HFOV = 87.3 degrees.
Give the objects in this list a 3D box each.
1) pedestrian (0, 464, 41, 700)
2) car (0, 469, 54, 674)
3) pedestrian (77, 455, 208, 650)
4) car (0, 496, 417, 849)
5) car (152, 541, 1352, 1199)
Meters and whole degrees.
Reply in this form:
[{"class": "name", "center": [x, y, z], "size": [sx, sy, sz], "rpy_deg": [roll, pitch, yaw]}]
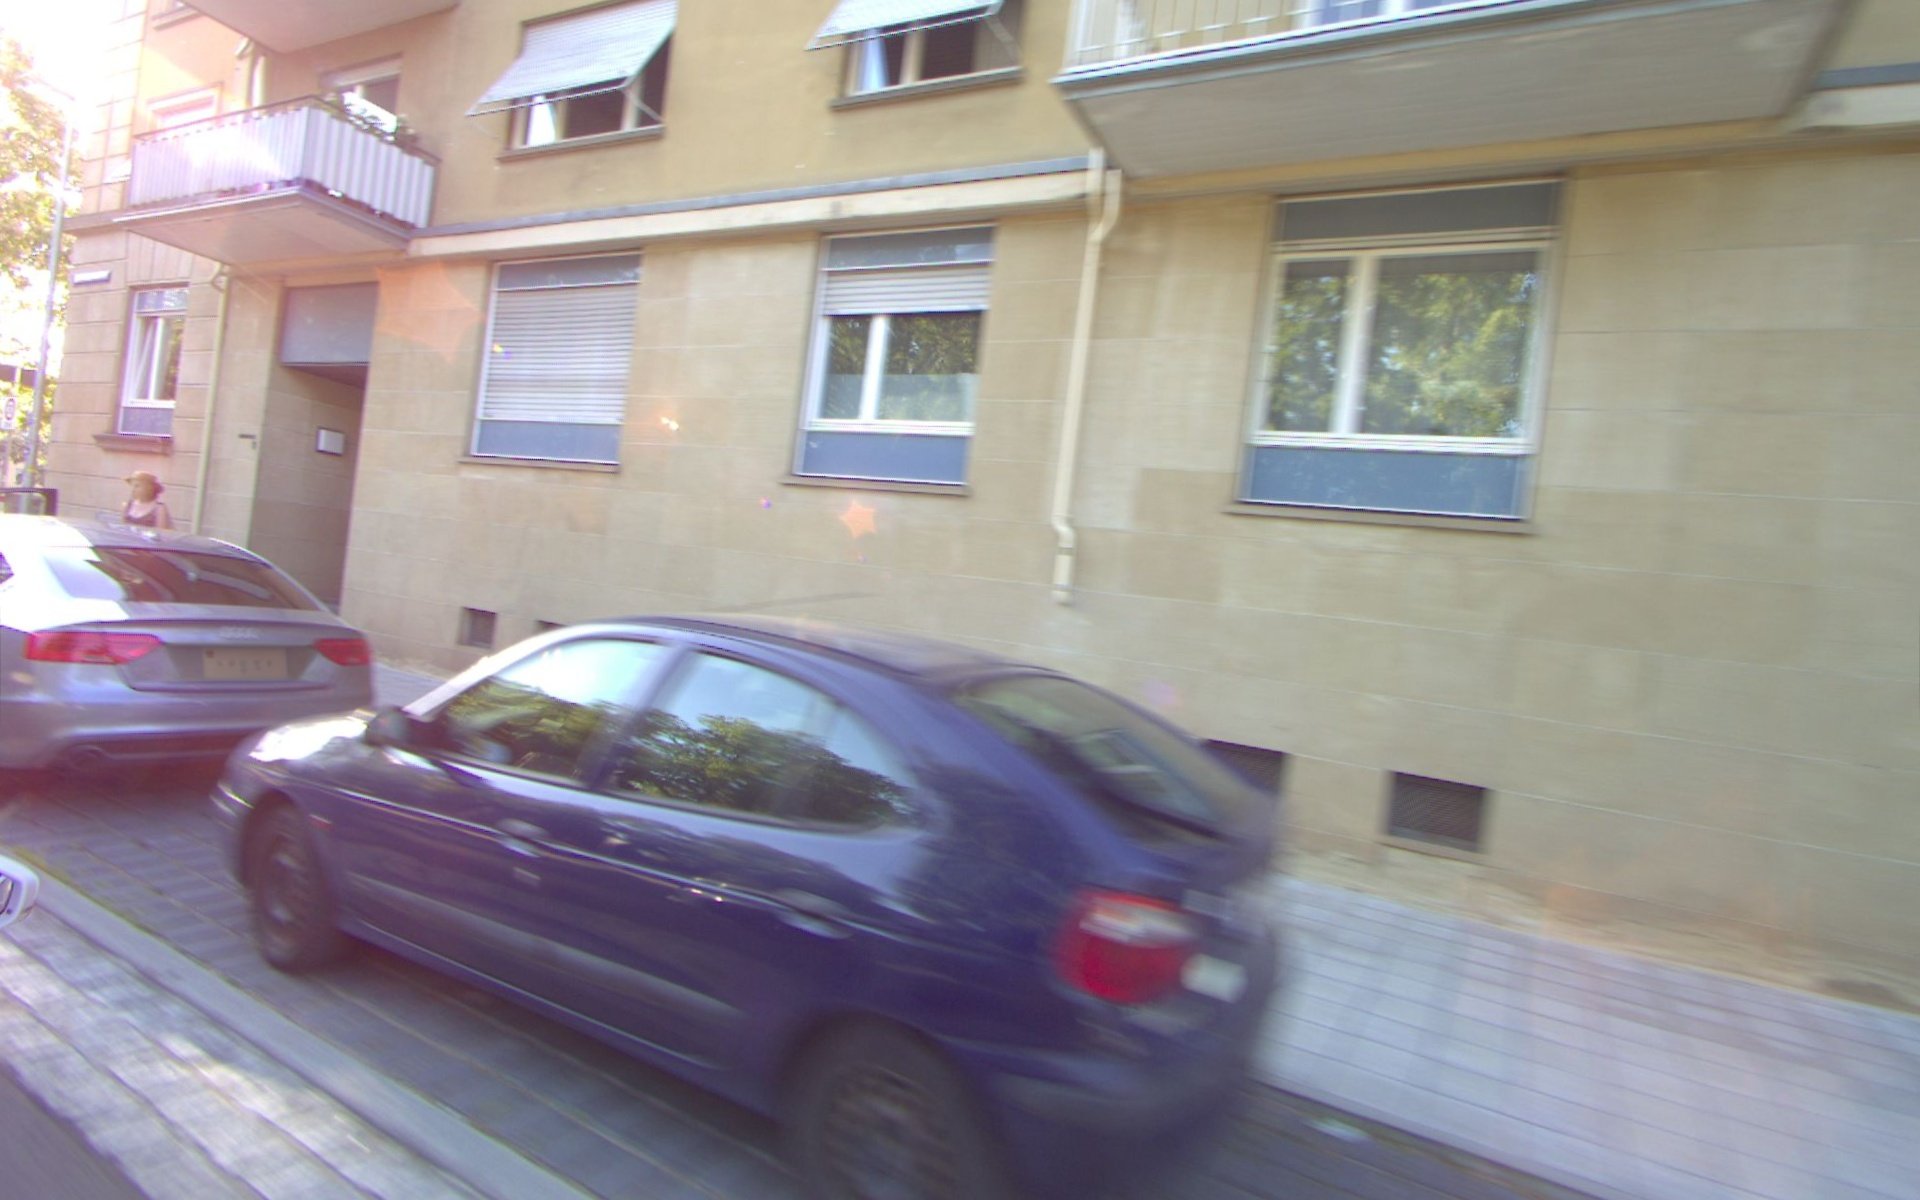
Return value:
[{"class": "pedestrian", "center": [-7.800, -0.200, 7.555], "size": [0.765, 1.790, 0.955], "rpy_deg": [8, 0, 27]}, {"class": "car", "center": [-9.905, -0.503, 8.691], "size": [4.273, 1.647, 1.705], "rpy_deg": [8, 2, 28]}, {"class": "pedestrian", "center": [-8.322, -0.458, 10.271], "size": [0.547, 1.852, 0.731], "rpy_deg": [8, 0, -7]}, {"class": "car", "center": [-5.361, 0.158, 6.041], "size": [4.276, 1.438, 1.704], "rpy_deg": [7, 2, 31]}, {"class": "car", "center": [-0.884, 0.726, 3.606], "size": [3.966, 1.438, 1.705], "rpy_deg": [7, 2, 29]}]
